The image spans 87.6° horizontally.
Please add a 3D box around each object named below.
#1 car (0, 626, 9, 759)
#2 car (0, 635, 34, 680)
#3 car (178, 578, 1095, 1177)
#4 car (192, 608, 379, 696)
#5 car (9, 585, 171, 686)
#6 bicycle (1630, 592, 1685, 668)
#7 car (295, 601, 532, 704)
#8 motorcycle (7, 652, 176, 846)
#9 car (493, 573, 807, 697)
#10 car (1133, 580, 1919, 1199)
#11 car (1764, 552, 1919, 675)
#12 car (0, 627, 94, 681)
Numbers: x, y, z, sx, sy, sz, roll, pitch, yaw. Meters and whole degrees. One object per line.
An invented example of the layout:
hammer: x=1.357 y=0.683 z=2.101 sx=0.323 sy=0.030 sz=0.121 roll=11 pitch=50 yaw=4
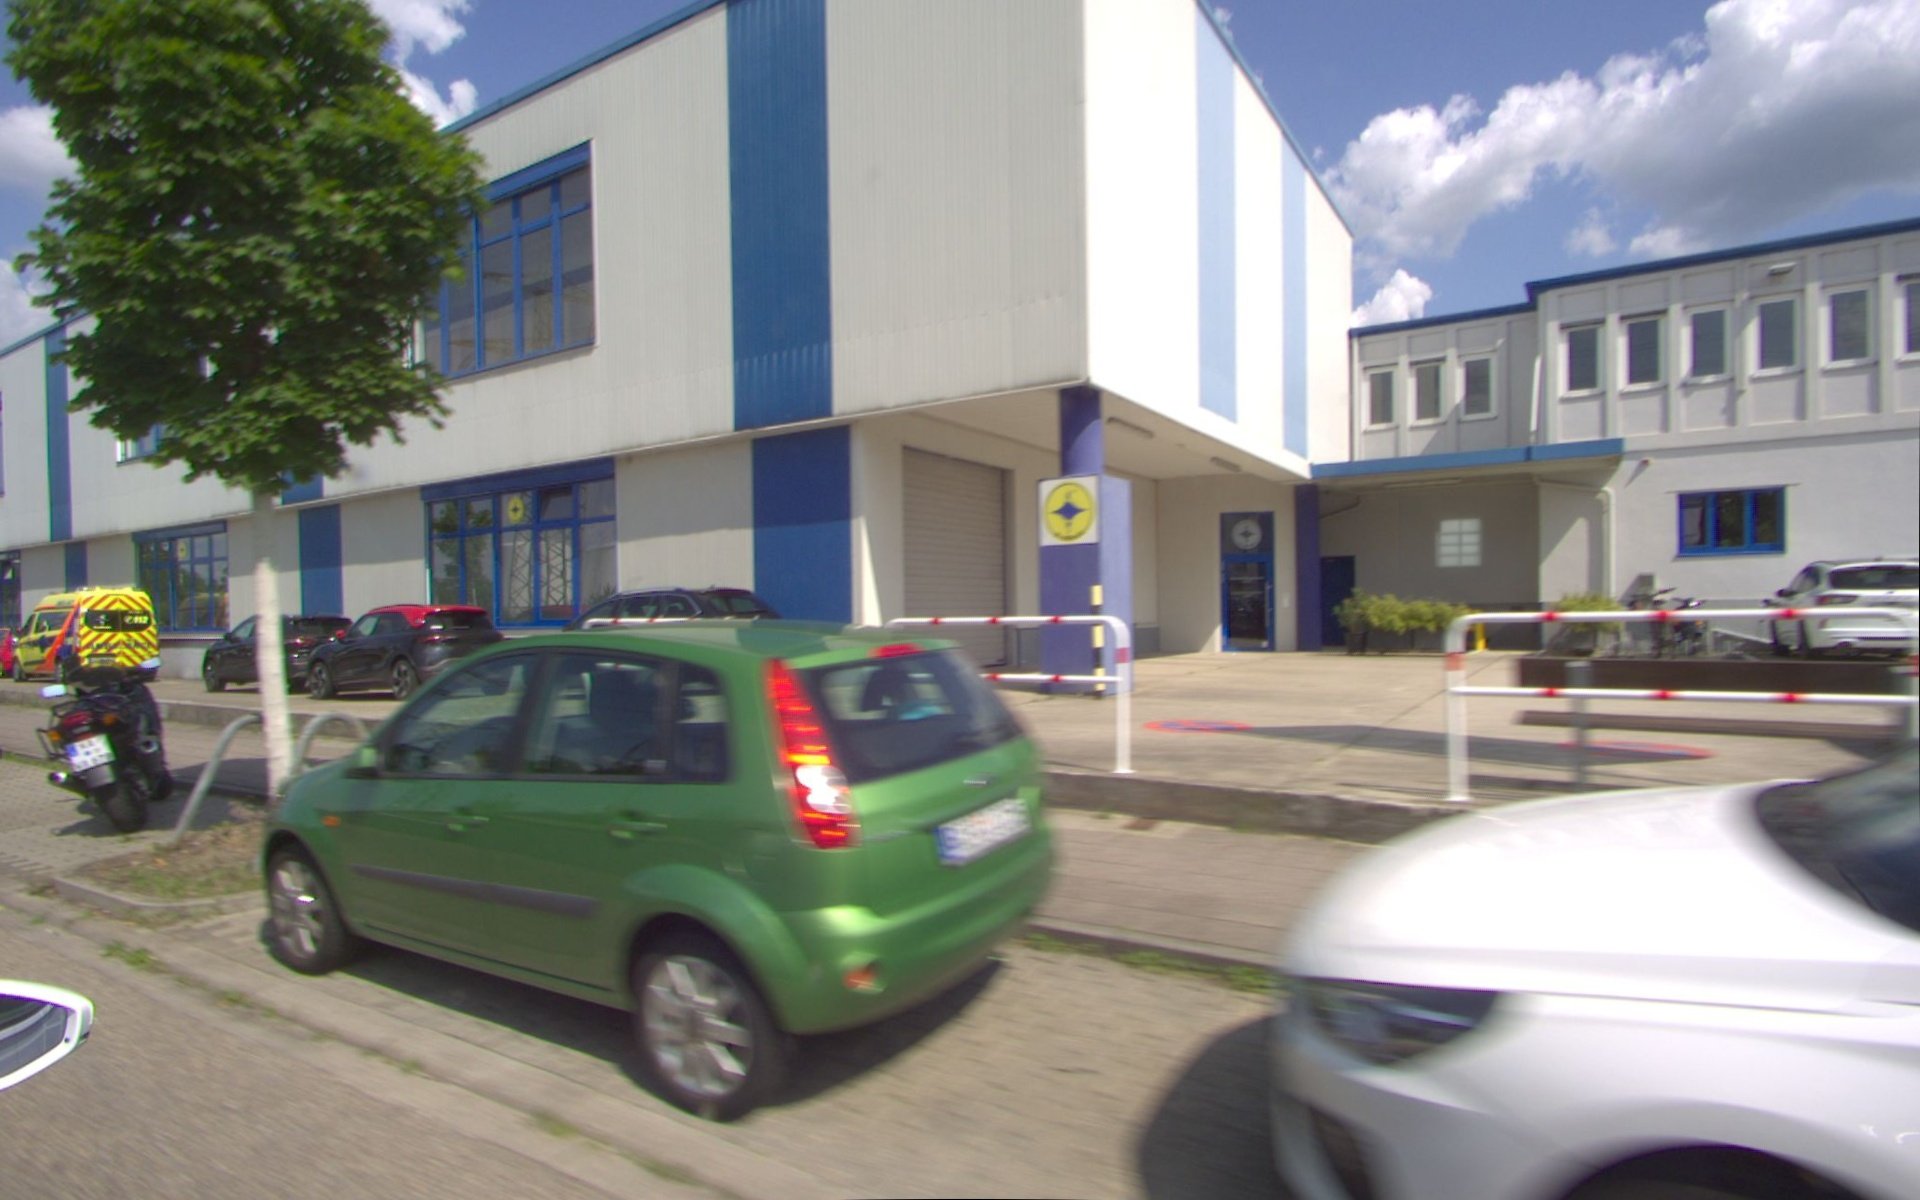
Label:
car: x=-12.801 y=0.967 z=11.477 sx=4.614 sy=1.673 sz=1.749 roll=-1 pitch=1 yaw=34
car: x=-32.159 y=1.867 z=33.004 sx=3.800 sy=1.421 sz=1.493 roll=-1 pitch=-1 yaw=32
car: x=-1.564 y=0.769 z=4.347 sx=3.938 sy=1.540 sz=1.665 roll=-1 pitch=-1 yaw=32
car: x=-14.122 y=1.055 z=20.920 sx=4.155 sy=1.673 sz=1.711 roll=-2 pitch=-1 yaw=32
car: x=-23.507 y=0.948 z=26.995 sx=5.185 sy=2.495 sz=1.920 roll=-1 pitch=-1 yaw=32
bicycle: x=12.053 y=0.492 z=17.354 sx=0.632 sy=1.228 sz=2.220 roll=0 pitch=0 yaw=31
car: x=-9.988 y=0.940 z=18.238 sx=4.230 sy=1.678 sz=1.989 roll=-2 pitch=-1 yaw=32
motorcycle: x=-6.782 y=1.065 z=7.936 sx=0.848 sy=1.216 sz=2.345 roll=-1 pitch=0 yaw=-37
car: x=-4.595 y=0.559 z=14.603 sx=4.577 sy=1.531 sz=1.823 roll=-4 pitch=-2 yaw=32
car: x=2.695 y=0.736 z=1.654 sx=4.397 sy=1.540 sz=1.832 roll=-1 pitch=-1 yaw=32
car: x=14.470 y=0.201 z=16.175 sx=1.780 sy=1.763 sz=4.050 roll=0 pitch=0 yaw=31
car: x=-27.521 y=1.579 z=29.856 sx=3.762 sy=1.510 sz=1.570 roll=-1 pitch=-1 yaw=32
